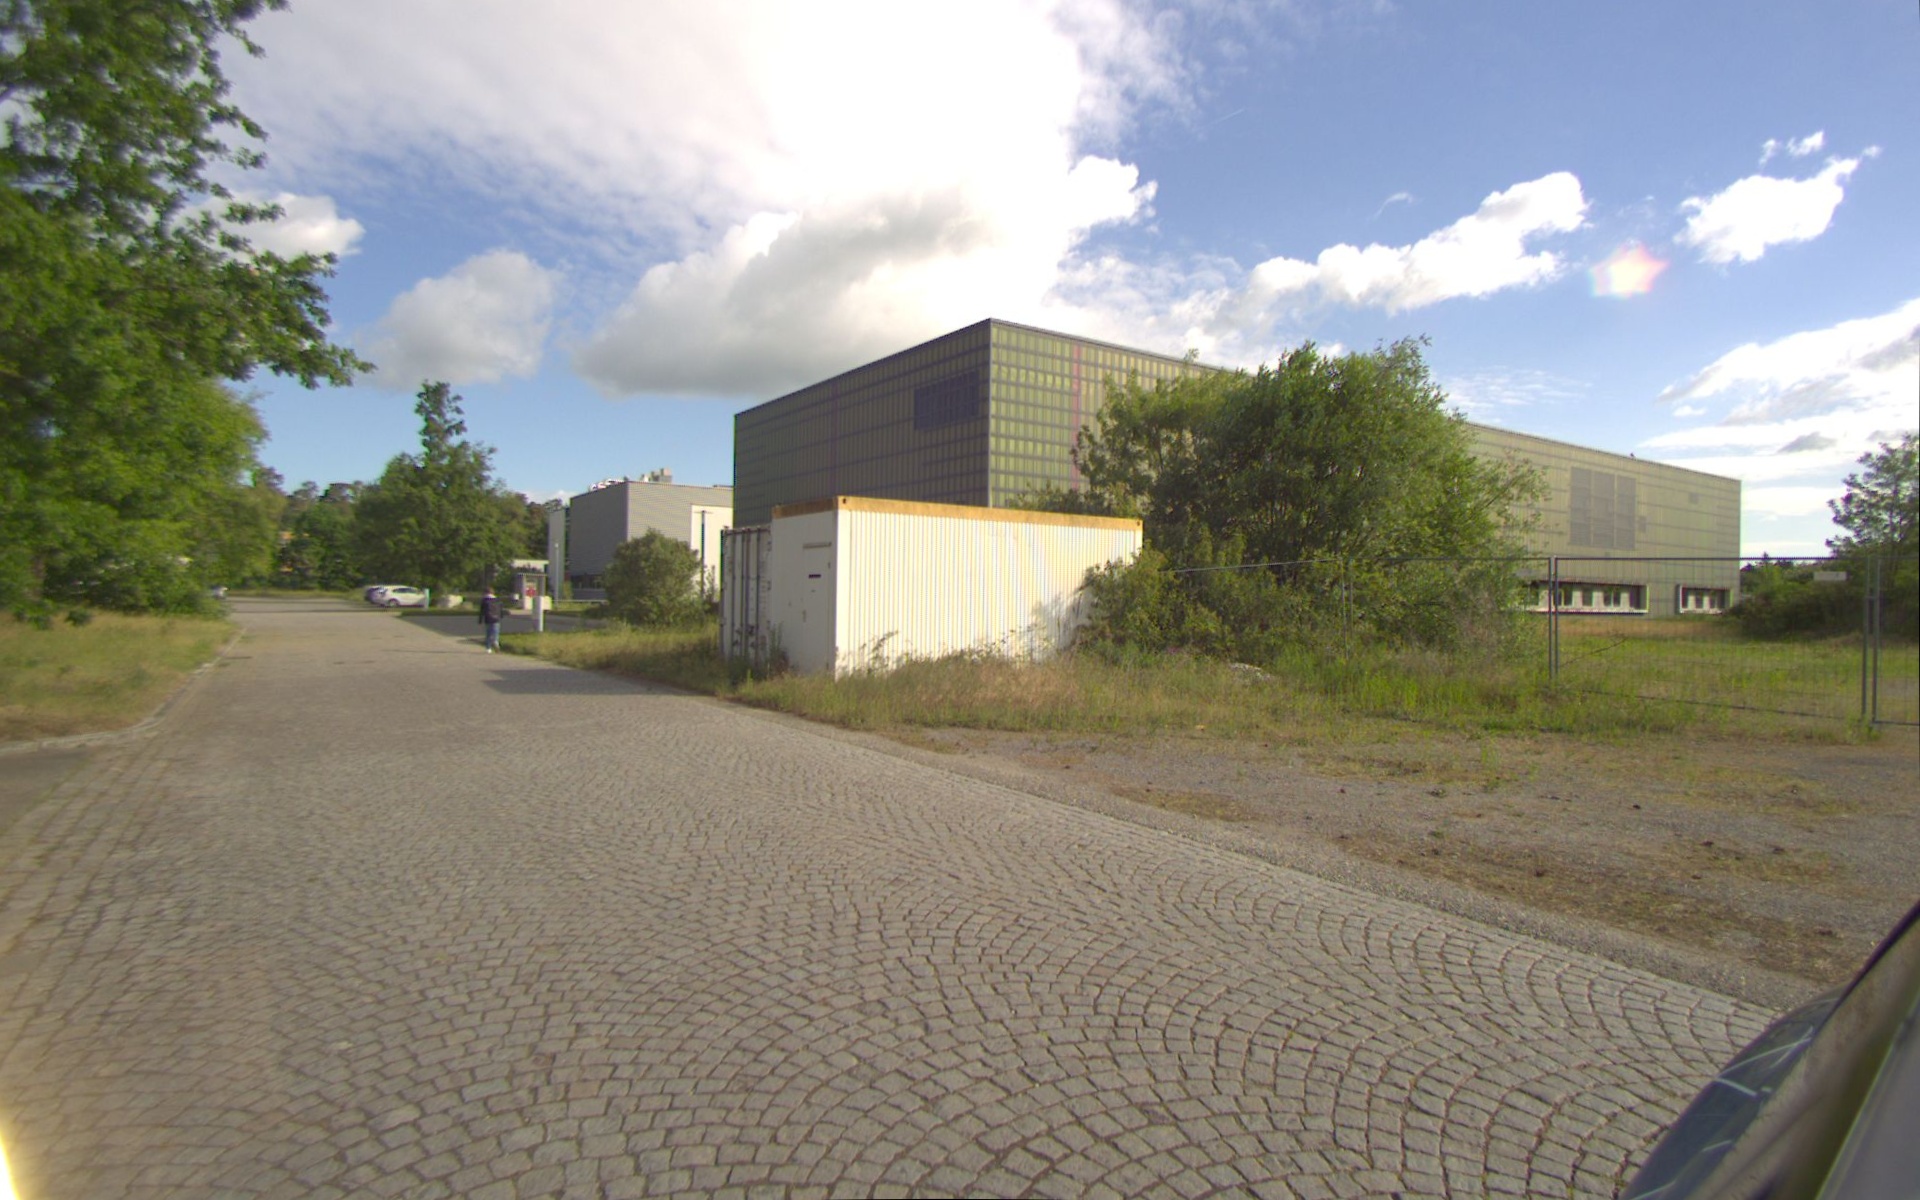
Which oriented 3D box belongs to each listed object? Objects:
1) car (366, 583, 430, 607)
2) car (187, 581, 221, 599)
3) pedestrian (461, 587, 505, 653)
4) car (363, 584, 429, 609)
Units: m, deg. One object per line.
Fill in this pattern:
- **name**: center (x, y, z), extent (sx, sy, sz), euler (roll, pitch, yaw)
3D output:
- **car**: center (-40.152, -0.347, 72.371), extent (3.919, 1.664, 2.002), euler (1, 0, -29)
- **car**: center (-62.165, -0.852, 83.193), extent (1.965, 1.388, 3.994), euler (1, 0, -40)
- **pedestrian**: center (-11.662, 0.476, 24.734), extent (0.850, 1.578, 1.029), euler (1, 0, -31)
- **car**: center (-38.984, -0.244, 70.008), extent (3.919, 1.664, 2.002), euler (1, 0, -29)
